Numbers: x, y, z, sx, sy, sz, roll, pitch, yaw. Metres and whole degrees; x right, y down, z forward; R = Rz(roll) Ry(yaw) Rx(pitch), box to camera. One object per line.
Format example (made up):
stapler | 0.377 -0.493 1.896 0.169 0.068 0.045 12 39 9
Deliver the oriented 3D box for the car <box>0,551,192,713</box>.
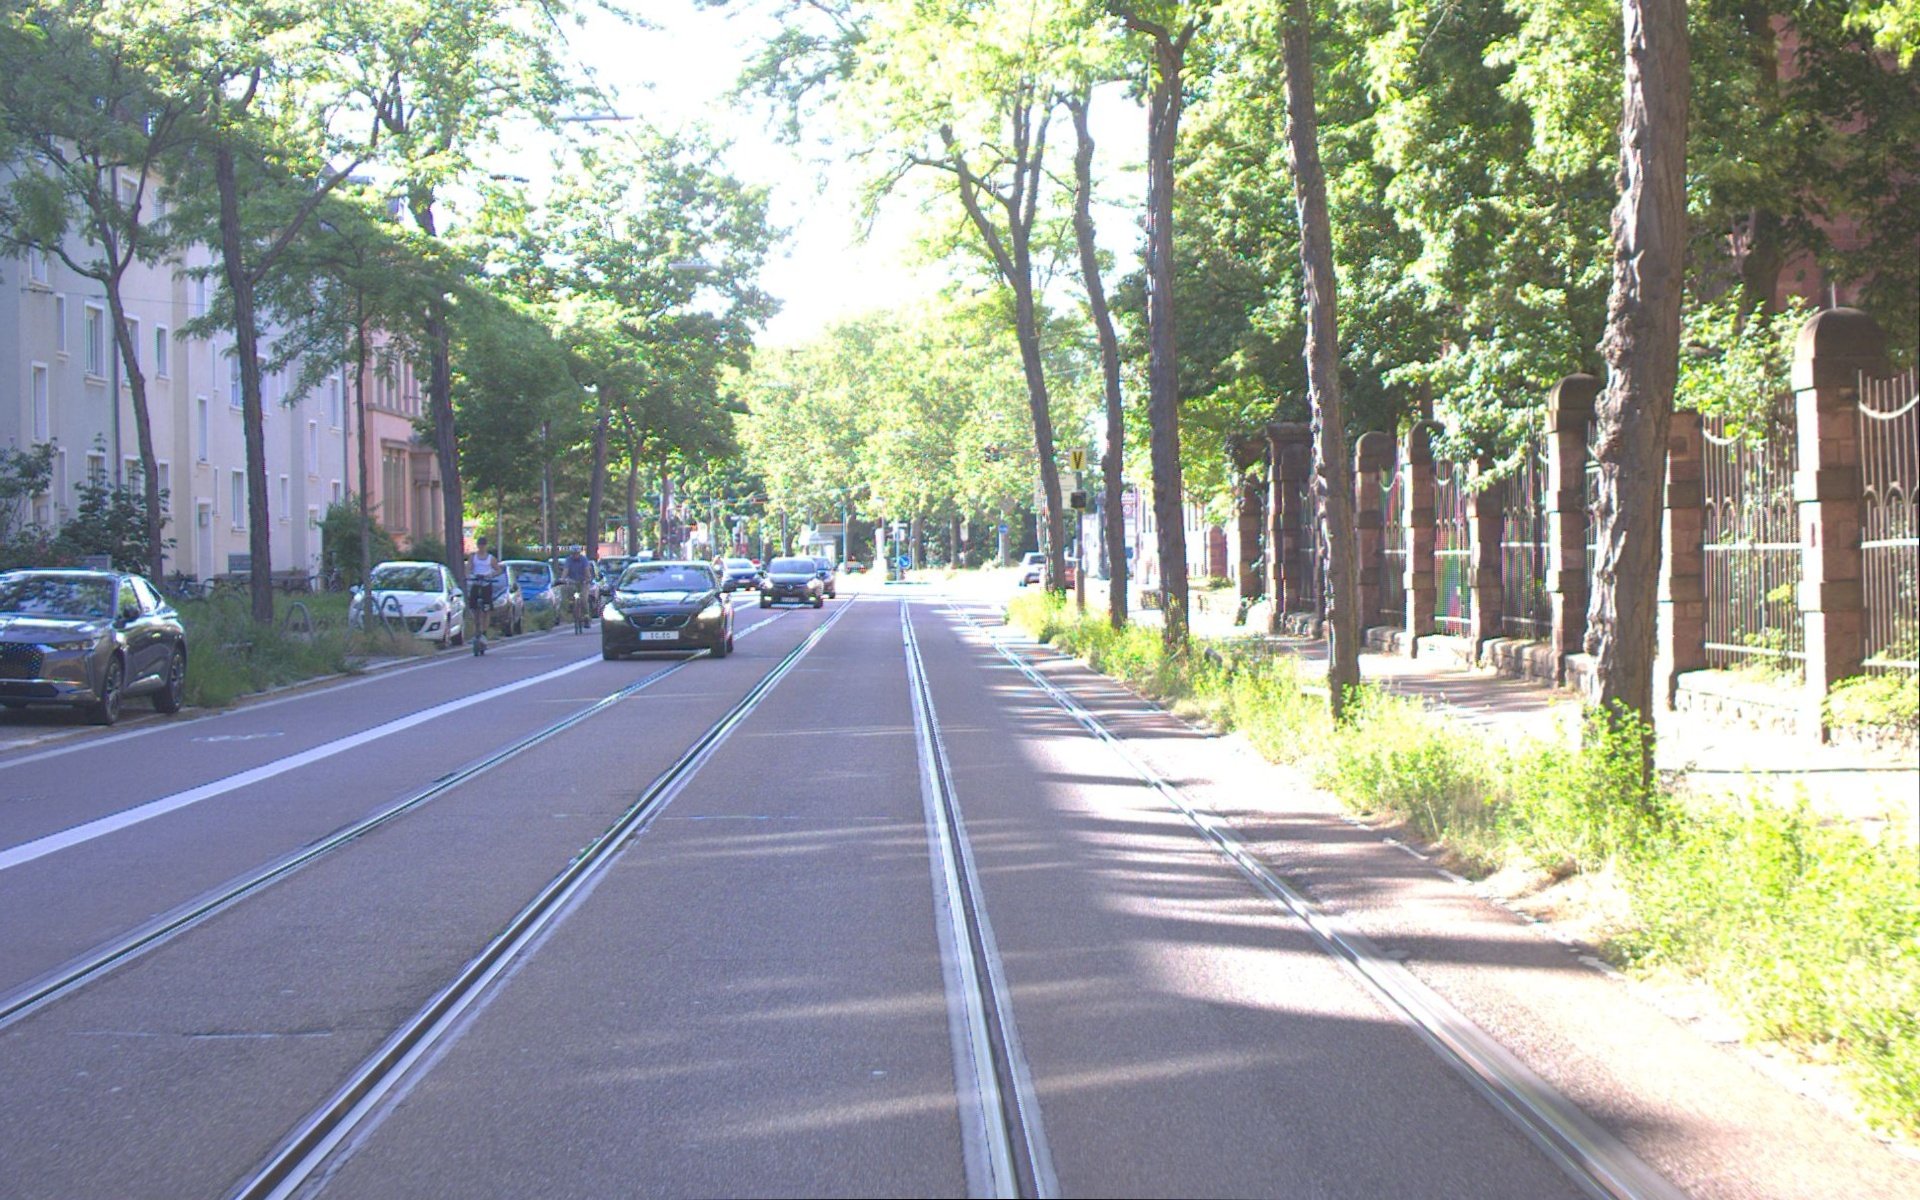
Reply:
car | -9.026 0.270 34.364 1.817 1.480 4.206 1 1 -1

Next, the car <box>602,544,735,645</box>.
car | -4.270 -0.116 50.895 1.757 1.434 4.524 0 1 -2

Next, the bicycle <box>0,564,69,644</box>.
bicycle | -14.405 0.047 51.600 1.906 1.173 0.522 1 1 -3

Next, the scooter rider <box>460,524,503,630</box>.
scooter rider | -7.774 -0.381 55.916 0.496 1.694 0.787 -4 1 -1

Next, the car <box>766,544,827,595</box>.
car | -4.666 -0.885 98.352 1.699 1.434 4.072 0 1 -2

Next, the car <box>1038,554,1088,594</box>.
car | 4.383 -1.110 146.601 1.839 1.649 3.580 0 1 -3

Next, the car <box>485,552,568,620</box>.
car | -9.907 -0.343 78.778 1.560 1.452 3.931 2 1 -3

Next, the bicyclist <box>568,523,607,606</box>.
bicyclist | -7.556 -0.721 69.710 0.626 1.633 0.940 -3 1 -1

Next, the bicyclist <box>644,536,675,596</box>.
bicyclist | -8.301 -0.940 94.950 0.709 1.601 0.865 -3 1 -1

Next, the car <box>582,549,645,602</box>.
car | -10.787 -0.778 107.127 1.745 1.564 4.070 2 1 -4

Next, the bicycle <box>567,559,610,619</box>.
bicycle | -7.542 -0.236 69.842 0.626 1.173 1.913 -3 1 -1

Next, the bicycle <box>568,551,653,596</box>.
bicycle | -9.914 -0.747 97.574 2.285 1.194 0.559 2 2 6

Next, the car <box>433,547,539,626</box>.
car | -9.529 -0.287 69.308 1.687 1.480 3.760 2 1 -2

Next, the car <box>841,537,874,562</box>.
car | -6.912 -3.401 231.125 1.942 1.605 4.001 0 1 -6

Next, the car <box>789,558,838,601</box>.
car | -5.176 -0.743 121.332 1.699 1.466 4.072 0 1 -2

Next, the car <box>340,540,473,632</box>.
car | -9.681 -0.271 60.361 1.702 1.480 4.079 2 1 -1

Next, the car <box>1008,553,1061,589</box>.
car | 3.440 -1.361 159.832 1.942 1.605 4.001 0 1 -6

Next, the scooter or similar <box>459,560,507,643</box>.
scooter or similar | -7.753 0.020 55.914 0.520 1.293 1.377 -4 1 -1
